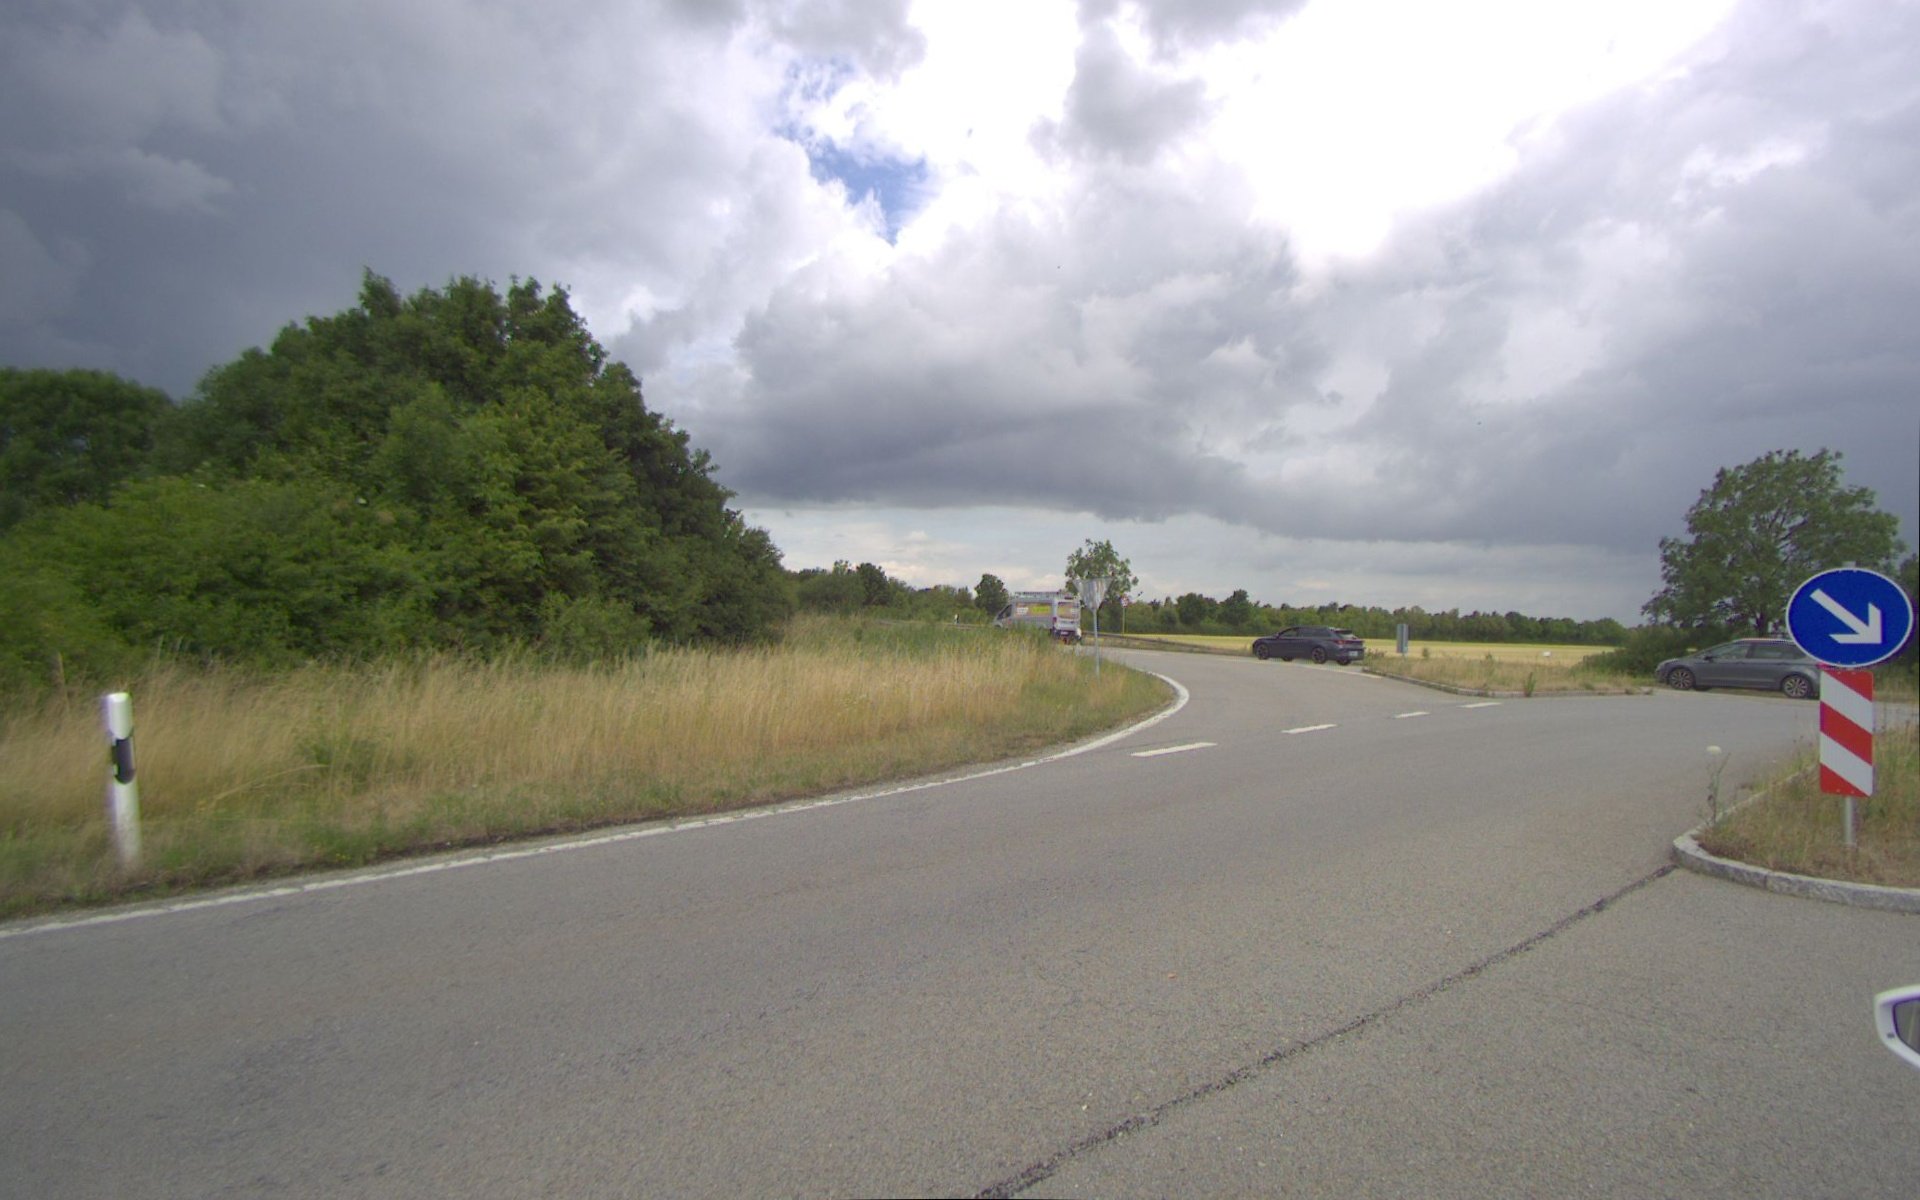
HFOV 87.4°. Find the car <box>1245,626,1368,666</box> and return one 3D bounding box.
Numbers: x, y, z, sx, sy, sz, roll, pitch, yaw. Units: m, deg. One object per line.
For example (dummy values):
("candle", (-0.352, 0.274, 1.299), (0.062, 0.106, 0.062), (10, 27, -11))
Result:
("car", (13.376, 1.744, 38.977), (1.667, 1.362, 4.307), (1, -1, -38))

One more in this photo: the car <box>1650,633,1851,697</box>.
("car", (22.448, 1.787, 28.661), (1.982, 1.622, 4.179), (1, -2, -37))

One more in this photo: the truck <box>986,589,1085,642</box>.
("truck", (4.031, 0.849, 54.748), (2.046, 2.739, 5.983), (1, -1, -36))
